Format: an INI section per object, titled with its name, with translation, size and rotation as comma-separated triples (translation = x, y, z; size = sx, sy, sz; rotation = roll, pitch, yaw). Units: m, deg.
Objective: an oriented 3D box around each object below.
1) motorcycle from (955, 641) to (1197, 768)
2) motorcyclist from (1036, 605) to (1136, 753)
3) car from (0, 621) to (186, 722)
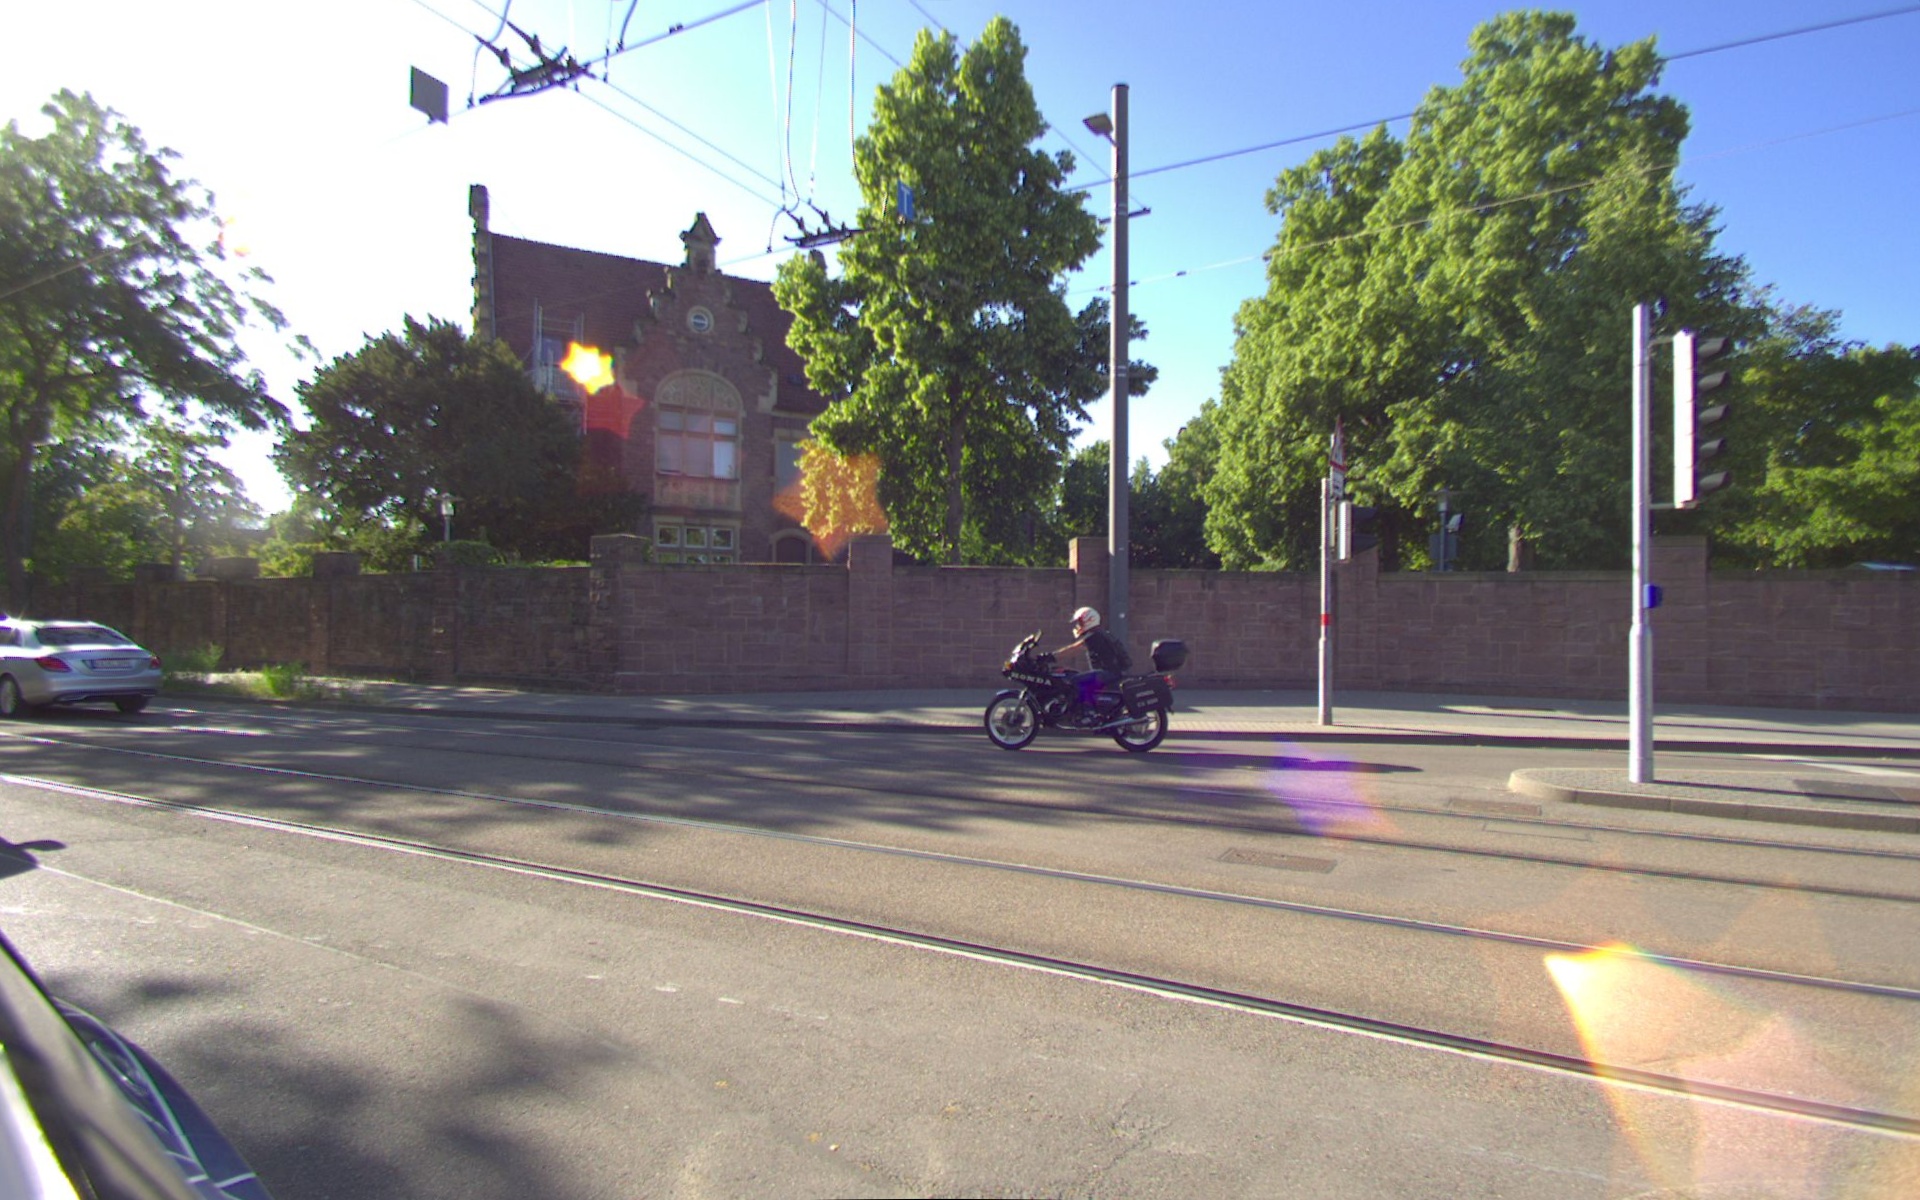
[motorcycle]
translation = 1.300, 1.116, 11.263
size = 2.546, 1.253, 1.130
rotation = 0, -1, 11
[motorcyclist]
translation = 1.424, 0.833, 11.247
size = 1.044, 1.536, 1.124
rotation = 0, -1, 11
[car]
translation = -14.825, 1.102, 16.055
size = 4.589, 1.426, 1.877
rotation = -2, -2, 20
